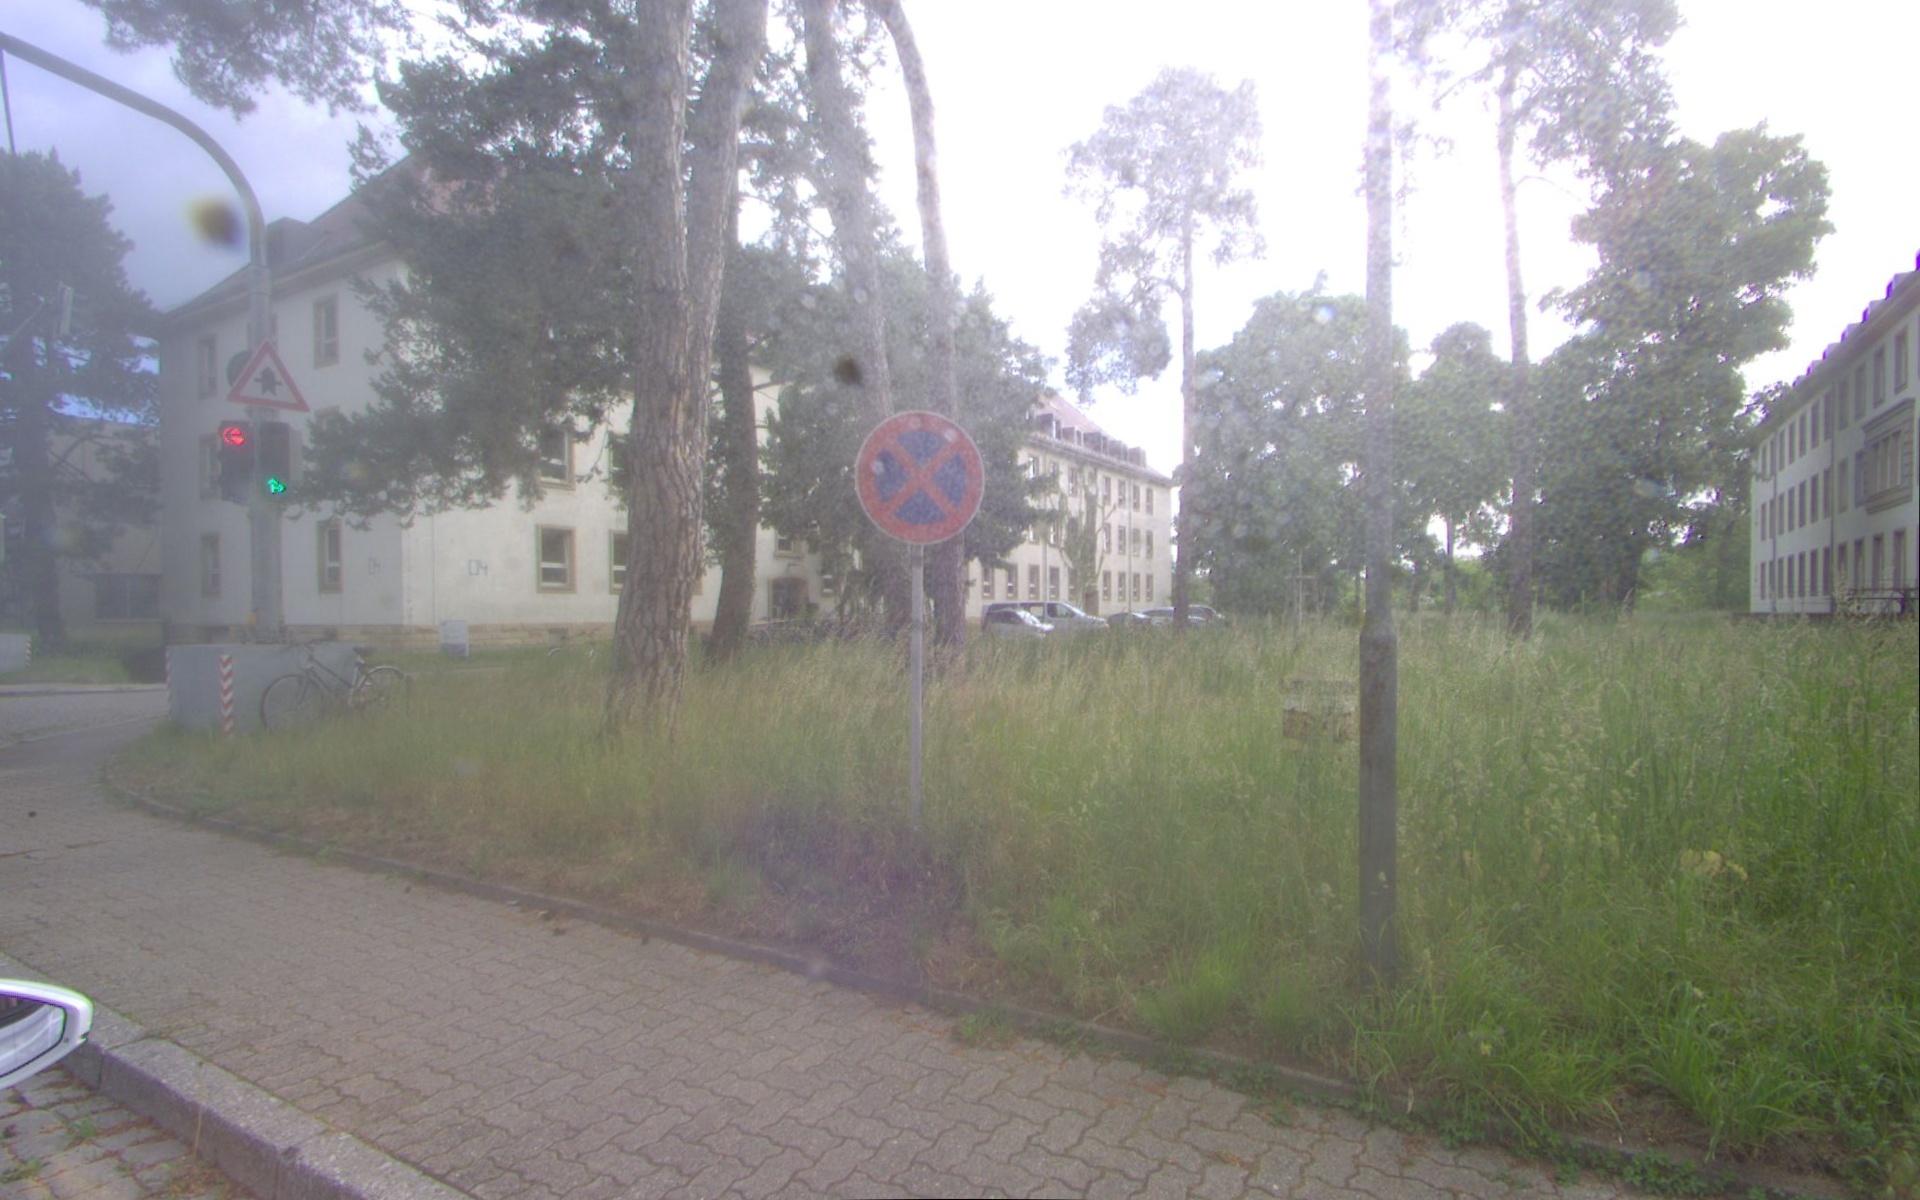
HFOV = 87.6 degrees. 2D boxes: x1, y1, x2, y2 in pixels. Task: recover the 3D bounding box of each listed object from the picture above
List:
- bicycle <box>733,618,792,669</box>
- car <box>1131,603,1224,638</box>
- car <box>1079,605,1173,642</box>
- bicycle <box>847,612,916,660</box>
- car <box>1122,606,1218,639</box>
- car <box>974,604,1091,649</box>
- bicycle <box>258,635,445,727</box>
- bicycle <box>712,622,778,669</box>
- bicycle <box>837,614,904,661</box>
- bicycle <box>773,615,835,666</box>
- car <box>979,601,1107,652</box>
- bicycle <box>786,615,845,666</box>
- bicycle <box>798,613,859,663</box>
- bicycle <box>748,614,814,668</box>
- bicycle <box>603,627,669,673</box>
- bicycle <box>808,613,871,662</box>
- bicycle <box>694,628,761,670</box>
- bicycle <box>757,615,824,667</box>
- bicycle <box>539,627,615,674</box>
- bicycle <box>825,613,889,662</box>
[{"bbox_3d":[-5.027,1.090,25.488,1.618,1.231,0.539,0,0,37],"label":"bicycle"},{"bbox_3d":[11.884,1.110,54.795,4.629,1.796,1.989,0,0,33],"label":"car"},{"bbox_3d":[7.770,1.077,46.971,3.943,1.639,1.989,0,0,33],"label":"car"},{"bbox_3d":[-2.348,1.048,29.814,2.075,1.385,0.755,0,0,37],"label":"bicycle"},{"bbox_3d":[10.825,1.139,51.694,4.452,1.639,1.989,0,-1,33],"label":"car"},{"bbox_3d":[2.611,0.935,36.527,3.877,1.550,1.852,0,0,34],"label":"car"},{"bbox_3d":[-6.646,0.856,11.027,0.564,0.886,1.697,0,0,32],"label":"bicycle"},{"bbox_3d":[-5.389,1.119,25.033,1.877,1.116,0.539,0,0,37],"label":"bicycle"},{"bbox_3d":[-2.618,1.072,29.146,2.104,1.337,0.553,0,0,37],"label":"bicycle"},{"bbox_3d":[-4.207,1.078,26.934,1.895,1.337,0.504,0,0,37],"label":"bicycle"},{"bbox_3d":[3.343,1.021,40.054,4.774,1.935,2.237,0,0,17],"label":"car"},{"bbox_3d":[-3.948,1.088,27.303,1.893,1.337,0.390,0,0,37],"label":"bicycle"},{"bbox_3d":[-3.647,1.025,27.739,1.829,1.337,0.553,0,0,37],"label":"bicycle"},{"bbox_3d":[-4.630,1.042,25.834,2.021,1.337,0.436,0,0,37],"label":"bicycle"},{"bbox_3d":[-7.722,1.172,23.905,0.535,1.028,1.534,0,0,31],"label":"bicycle"},{"bbox_3d":[-3.415,1.040,28.311,1.913,1.337,0.551,0,0,37],"label":"bicycle"},{"bbox_3d":[-5.686,1.171,24.449,1.877,0.961,0.539,0,0,37],"label":"bicycle"},{"bbox_3d":[-4.496,1.060,26.420,1.950,1.337,0.574,0,0,37],"label":"bicycle"},{"bbox_3d":[-8.522,1.112,22.336,0.522,0.993,1.618,0,0,31],"label":"bicycle"},{"bbox_3d":[-2.970,1.057,28.697,1.989,1.337,0.538,0,0,37],"label":"bicycle"}]
